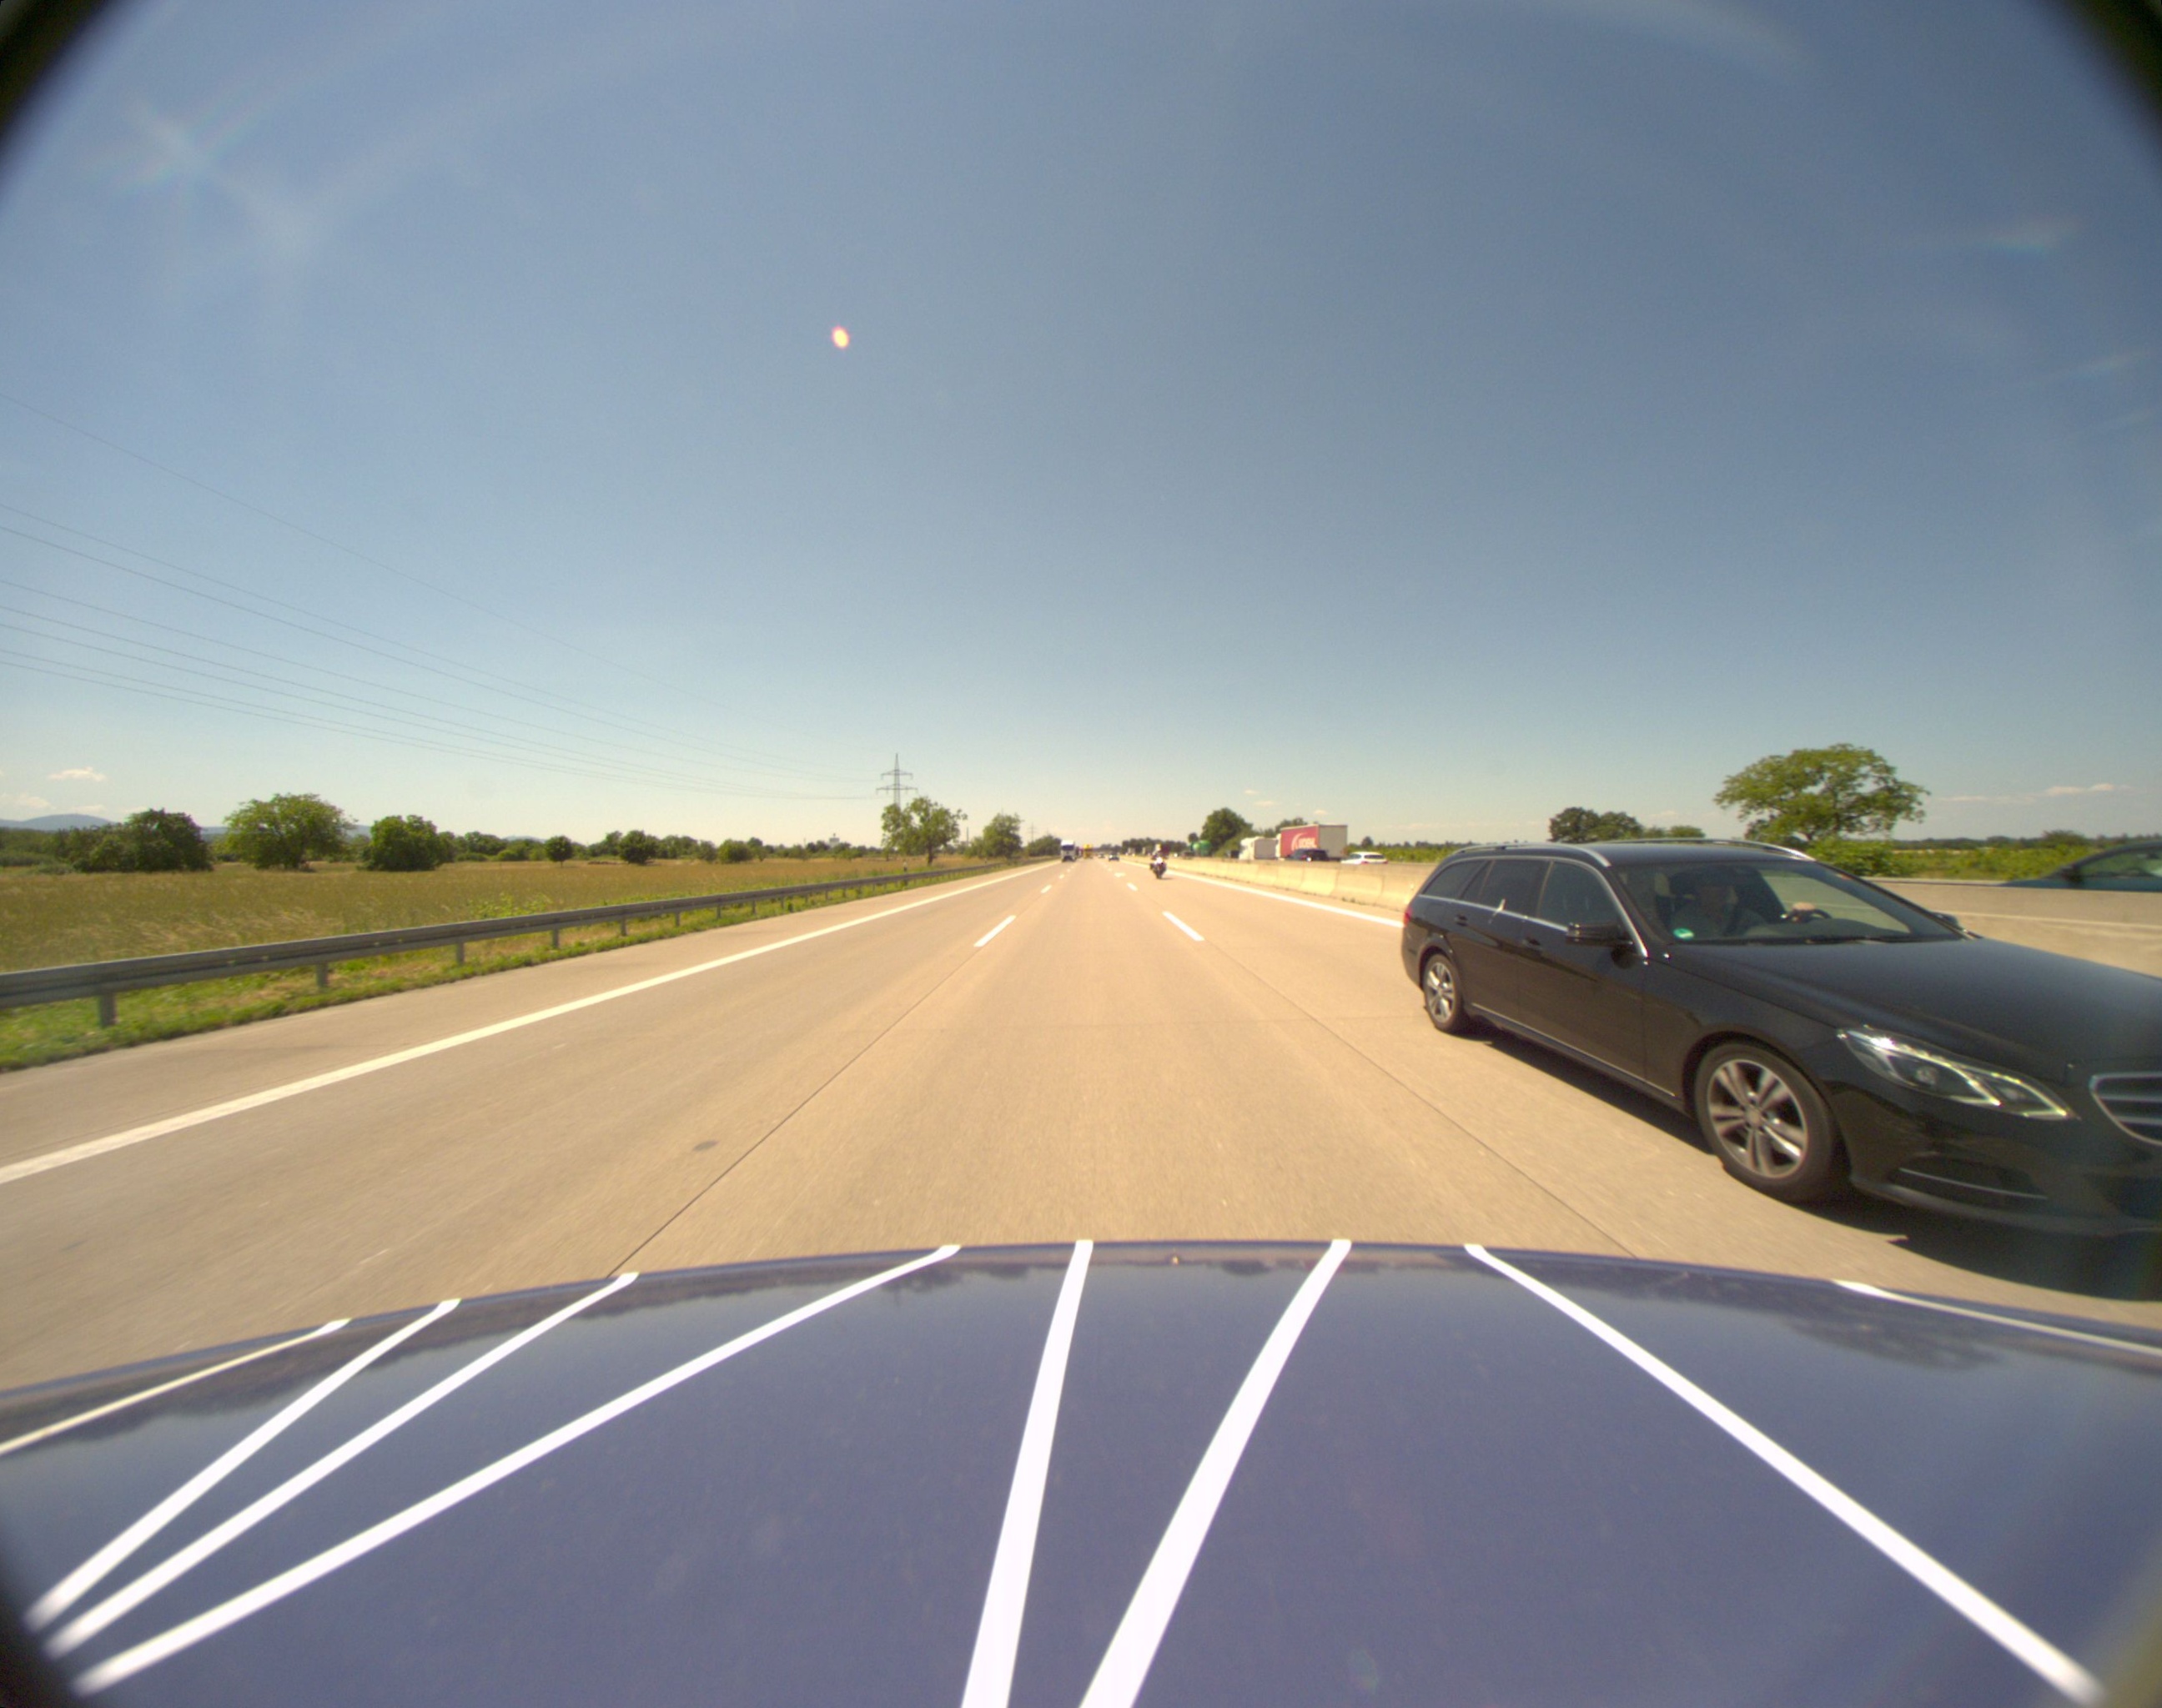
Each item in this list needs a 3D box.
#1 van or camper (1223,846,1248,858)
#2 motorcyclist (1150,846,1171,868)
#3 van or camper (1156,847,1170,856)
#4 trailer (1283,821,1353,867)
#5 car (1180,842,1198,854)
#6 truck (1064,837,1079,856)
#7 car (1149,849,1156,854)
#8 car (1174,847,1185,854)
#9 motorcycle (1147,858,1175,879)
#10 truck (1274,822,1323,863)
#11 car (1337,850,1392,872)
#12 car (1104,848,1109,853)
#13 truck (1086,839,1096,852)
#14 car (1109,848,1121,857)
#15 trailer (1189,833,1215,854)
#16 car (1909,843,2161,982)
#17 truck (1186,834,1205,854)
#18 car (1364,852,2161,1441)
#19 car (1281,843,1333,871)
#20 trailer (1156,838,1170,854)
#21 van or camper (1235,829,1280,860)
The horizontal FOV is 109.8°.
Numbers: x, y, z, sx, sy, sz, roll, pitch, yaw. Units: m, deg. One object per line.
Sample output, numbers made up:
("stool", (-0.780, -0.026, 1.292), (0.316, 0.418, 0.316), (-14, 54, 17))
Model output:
("van or camper", (22.616, -0.268, 111.619), (2.371, 1.612, 6.091), (-1, 0, 0))
("motorcyclist", (4.369, 0.171, 41.776), (1.027, 1.202, 0.911), (-1, 1, -4))
("van or camper", (15.747, -0.430, 145.956), (2.247, 1.683, 5.849), (0, 0, 1))
("trailer", (22.214, -0.905, 72.256), (3.007, 3.959, 12.341), (-1, 0, 1))
("car", (13.862, -0.779, 97.870), (1.798, 1.546, 4.601), (-1, 0, 1))
("truck", (-1.690, -1.392, 145.863), (2.570, 3.514, 10.099), (-1, 0, 1))
("car", (19.861, -0.713, 210.526), (1.628, 1.392, 4.546), (-1, 0, 1))
("car", (18.926, -0.644, 145.768), (1.700, 1.325, 4.000), (-1, 0, 1))
("motorcycle", (4.384, 0.781, 41.837), (1.024, 1.043, 2.411), (-2, 1, -5))
("truck", (22.317, -1.153, 78.408), (3.007, 3.959, 7.294), (-1, 0, 1))
("car", (17.217, 0.381, 46.371), (1.692, 1.256, 4.791), (-1, 0, 1))
("car", (7.171, -0.965, 214.273), (1.586, 1.527, 3.611), (0, 1, 1))
("truck", (2.776, -2.321, 214.973), (2.570, 3.711, 10.099), (-1, 0, 1))
("car", (5.942, -0.271, 134.867), (1.998, 1.518, 4.000), (0, 1, 1))
("trailer", (22.908, -1.948, 144.975), (2.743, 3.855, 11.102), (-1, 0, -2))
("car", (12.813, 0.634, 8.840), (1.692, 1.535, 4.338), (-1, 0, 1))
("truck", (22.701, -1.969, 150.856), (2.751, 3.860, 6.202), (-1, 0, -2))
("car", (3.724, 0.743, 4.728), (1.895, 1.465, 5.603), (-1, 0, 1))
("car", (13.559, 0.136, 45.814), (1.847, 1.606, 4.427), (0, 0, 0))
("trailer", (23.832, -2.252, 220.378), (2.809, 4.511, 13.234), (-1, 0, 1))
("van or camper", (17.666, -0.929, 76.599), (2.532, 2.873, 7.936), (-1, 0, -1))
